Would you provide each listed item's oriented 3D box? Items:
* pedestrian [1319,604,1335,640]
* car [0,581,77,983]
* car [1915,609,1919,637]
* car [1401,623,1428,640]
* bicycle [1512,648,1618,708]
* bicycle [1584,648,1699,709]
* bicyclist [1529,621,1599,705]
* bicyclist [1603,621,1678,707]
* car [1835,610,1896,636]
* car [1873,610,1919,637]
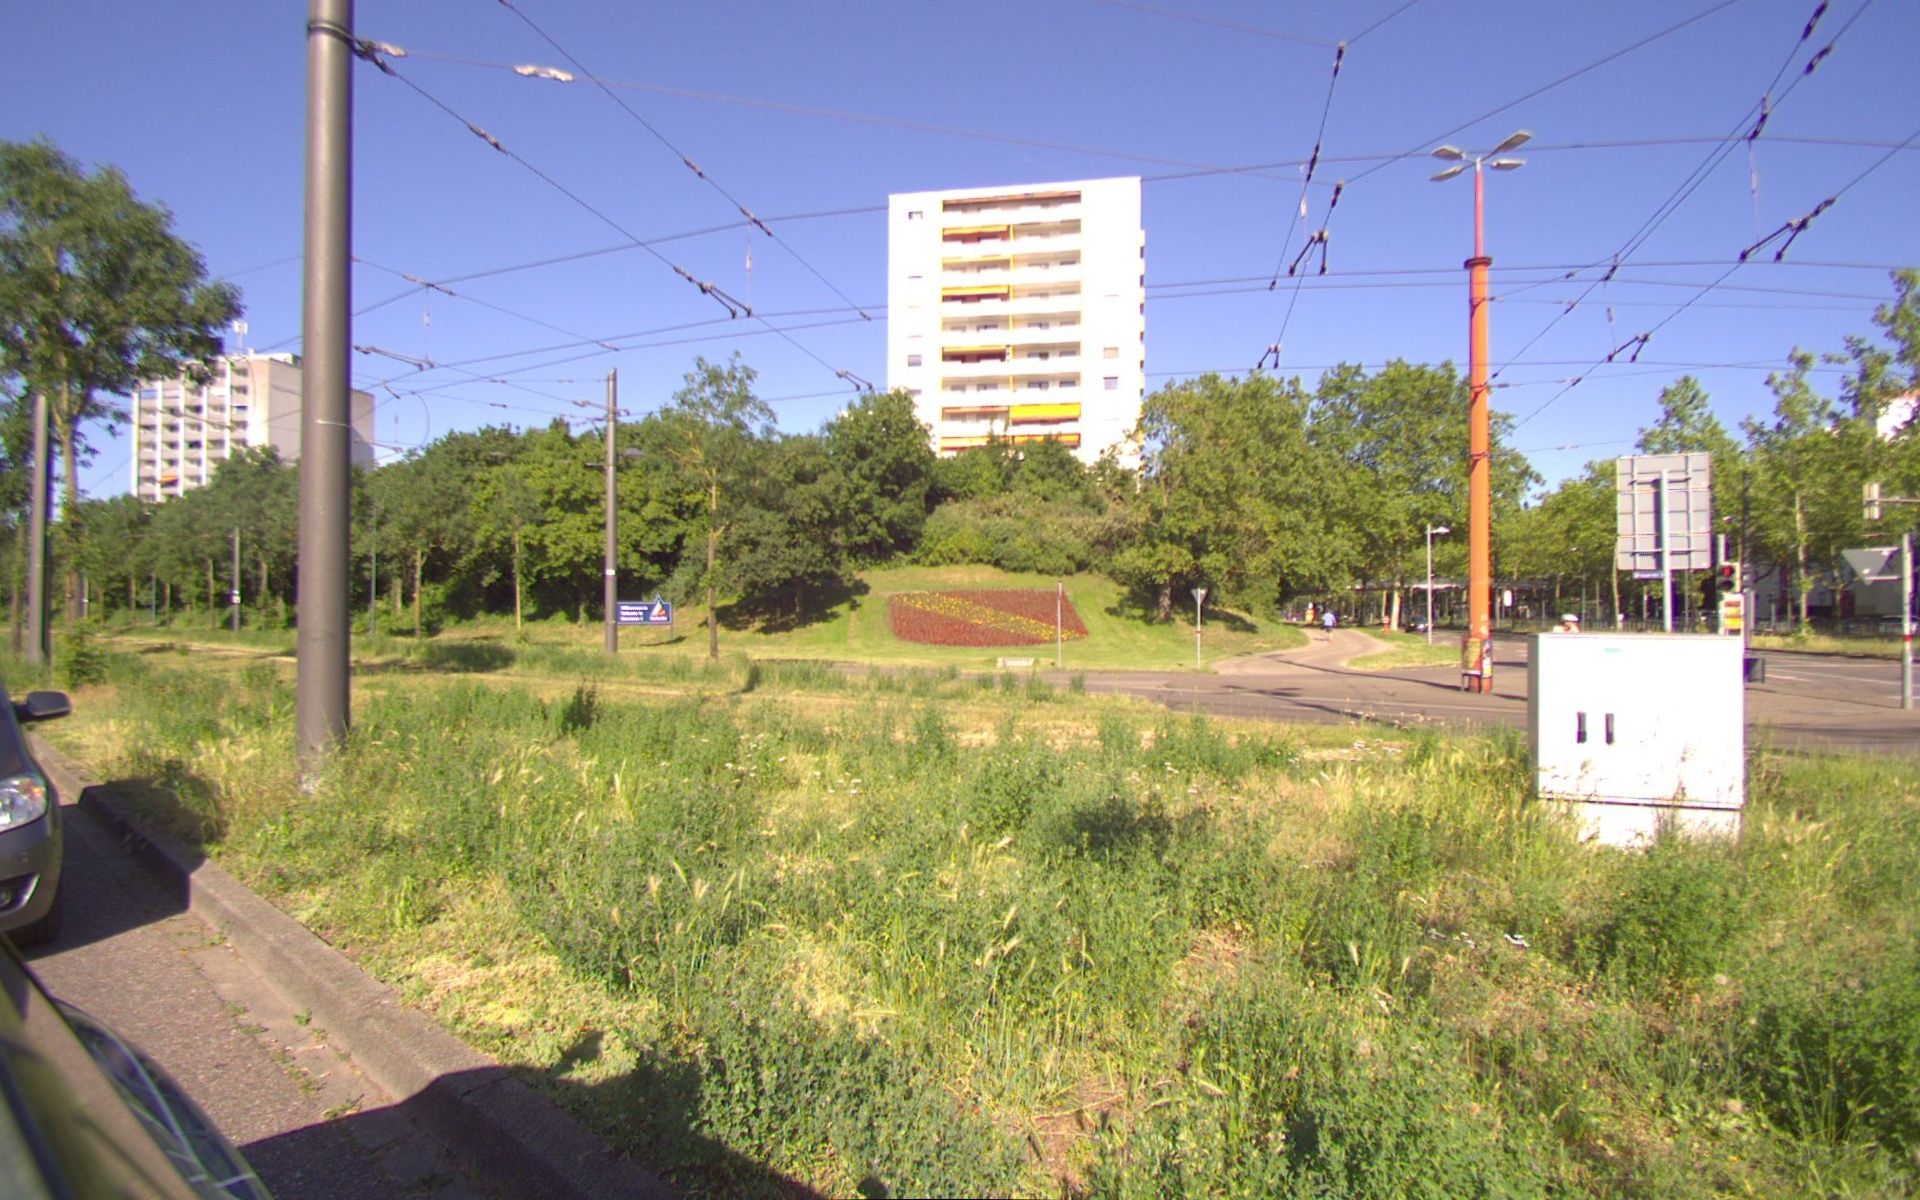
[{"bbox_3d":[19.758,1.194,54.496,0.729,1.949,0.726,-1,-2,24],"label":"pedestrian"},{"bbox_3d":[-5.942,0.757,5.034,4.382,1.619,1.754,-1,-2,41],"label":"car"},{"bbox_3d":[64.403,1.498,65.895,3.931,1.829,2.006,0,-2,-27],"label":"car"},{"bbox_3d":[41.694,2.877,92.903,1.928,1.606,3.882,-1,-1,20],"label":"car"},{"bbox_3d":[12.090,1.530,20.309,0.915,1.095,1.888,0,-1,-2],"label":"bicycle"},{"bbox_3d":[13.355,1.515,19.907,0.915,1.095,1.888,0,-1,-2],"label":"bicycle"},{"bbox_3d":[12.094,1.252,20.293,0.920,1.650,0.741,0,-1,-1],"label":"bicyclist"},{"bbox_3d":[13.352,1.235,19.874,0.920,1.650,0.741,0,-1,-1],"label":"bicyclist"},{"bbox_3d":[66.013,1.692,73.754,3.931,1.829,2.006,0,-2,-27],"label":"car"},{"bbox_3d":[65.246,1.635,69.858,3.931,1.829,2.006,0,-2,-27],"label":"car"}]
